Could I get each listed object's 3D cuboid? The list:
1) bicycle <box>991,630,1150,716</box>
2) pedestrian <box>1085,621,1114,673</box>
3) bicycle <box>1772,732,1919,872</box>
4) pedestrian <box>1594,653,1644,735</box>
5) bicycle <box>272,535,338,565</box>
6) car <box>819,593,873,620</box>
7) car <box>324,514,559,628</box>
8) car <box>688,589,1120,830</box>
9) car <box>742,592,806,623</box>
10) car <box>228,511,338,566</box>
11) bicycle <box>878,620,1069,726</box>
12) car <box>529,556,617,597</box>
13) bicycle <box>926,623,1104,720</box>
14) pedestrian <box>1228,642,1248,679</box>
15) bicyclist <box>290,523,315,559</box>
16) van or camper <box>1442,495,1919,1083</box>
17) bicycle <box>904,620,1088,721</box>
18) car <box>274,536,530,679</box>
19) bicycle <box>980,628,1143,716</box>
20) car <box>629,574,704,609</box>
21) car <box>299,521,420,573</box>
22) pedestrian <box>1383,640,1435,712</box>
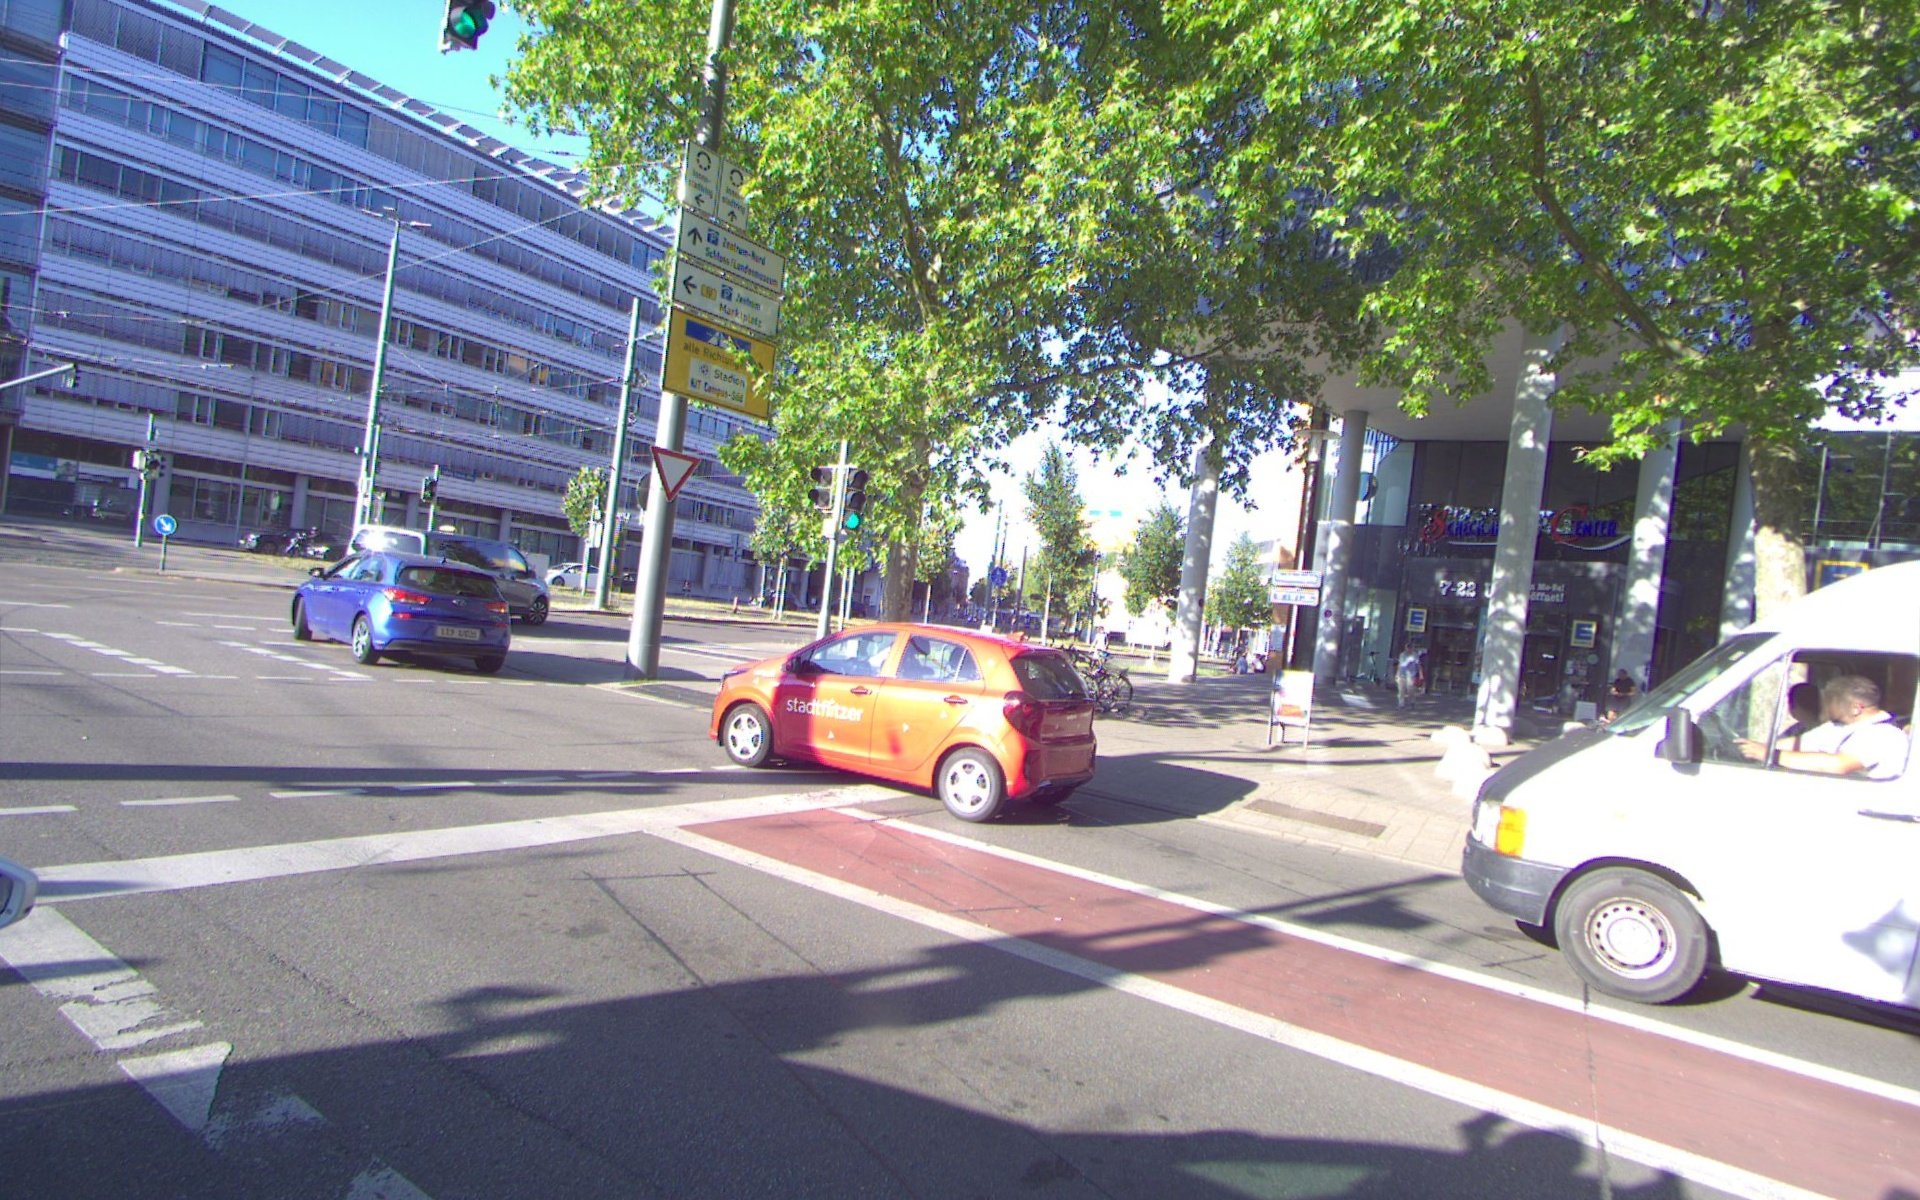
[{"bbox_3d":[2.111,1.403,19.527,2.896,1.250,0.698,6,-4,31],"label":"bicycle"},{"bbox_3d":[4.575,1.547,33.004,0.569,1.612,0.595,7,0,32],"label":"pedestrian"},{"bbox_3d":[10.489,2.196,9.904,3.759,1.234,0.756,5,-2,38],"label":"bicycle"},{"bbox_3d":[17.515,2.508,26.723,0.847,2.037,1.021,6,-1,38],"label":"pedestrian"},{"bbox_3d":[-30.158,-2.289,46.326,0.627,1.035,2.409,7,0,36],"label":"bicycle"},{"bbox_3d":[-9.075,0.521,80.241,1.852,1.614,4.121,6,-2,35],"label":"car"},{"bbox_3d":[-11.042,-0.508,21.929,1.969,1.919,4.886,8,-1,7],"label":"car"},{"bbox_3d":[-0.562,0.879,9.094,3.536,1.476,1.493,7,-1,31],"label":"car"},{"bbox_3d":[-12.940,0.559,70.252,1.852,1.614,4.121,6,-2,35],"label":"car"},{"bbox_3d":[-33.945,-3.047,50.549,1.967,2.037,3.995,6,-2,32],"label":"car"},{"bbox_3d":[0.167,1.107,15.705,2.896,1.252,0.705,6,-1,31],"label":"bicycle"},{"bbox_3d":[-21.019,-1.237,54.702,1.852,1.614,3.991,6,-2,35],"label":"car"},{"bbox_3d":[0.890,1.187,16.974,2.897,1.252,0.705,6,-1,32],"label":"bicycle"},{"bbox_3d":[12.692,2.781,45.914,0.540,1.612,0.595,7,0,32],"label":"pedestrian"},{"bbox_3d":[-30.205,-2.700,46.200,0.604,1.521,0.663,7,1,37],"label":"bicyclist"},{"bbox_3d":[6.100,1.112,4.853,6.391,2.647,2.002,7,0,32],"label":"van or camper"},{"bbox_3d":[0.541,1.119,16.329,2.896,1.243,0.686,6,-1,31],"label":"bicycle"},{"bbox_3d":[-7.984,0.057,14.239,4.153,1.476,1.746,7,-1,41],"label":"car"},{"bbox_3d":[1.861,1.323,18.823,2.896,1.253,0.704,6,0,31],"label":"bicycle"},{"bbox_3d":[-18.469,-0.533,63.450,1.852,1.614,4.121,6,-2,35],"label":"car"},{"bbox_3d":[-27.336,-2.375,45.924,1.854,1.744,4.256,7,0,34],"label":"car"},{"bbox_3d":[12.672,2.140,28.413,0.800,1.913,0.871,5,1,-16],"label":"pedestrian"}]
